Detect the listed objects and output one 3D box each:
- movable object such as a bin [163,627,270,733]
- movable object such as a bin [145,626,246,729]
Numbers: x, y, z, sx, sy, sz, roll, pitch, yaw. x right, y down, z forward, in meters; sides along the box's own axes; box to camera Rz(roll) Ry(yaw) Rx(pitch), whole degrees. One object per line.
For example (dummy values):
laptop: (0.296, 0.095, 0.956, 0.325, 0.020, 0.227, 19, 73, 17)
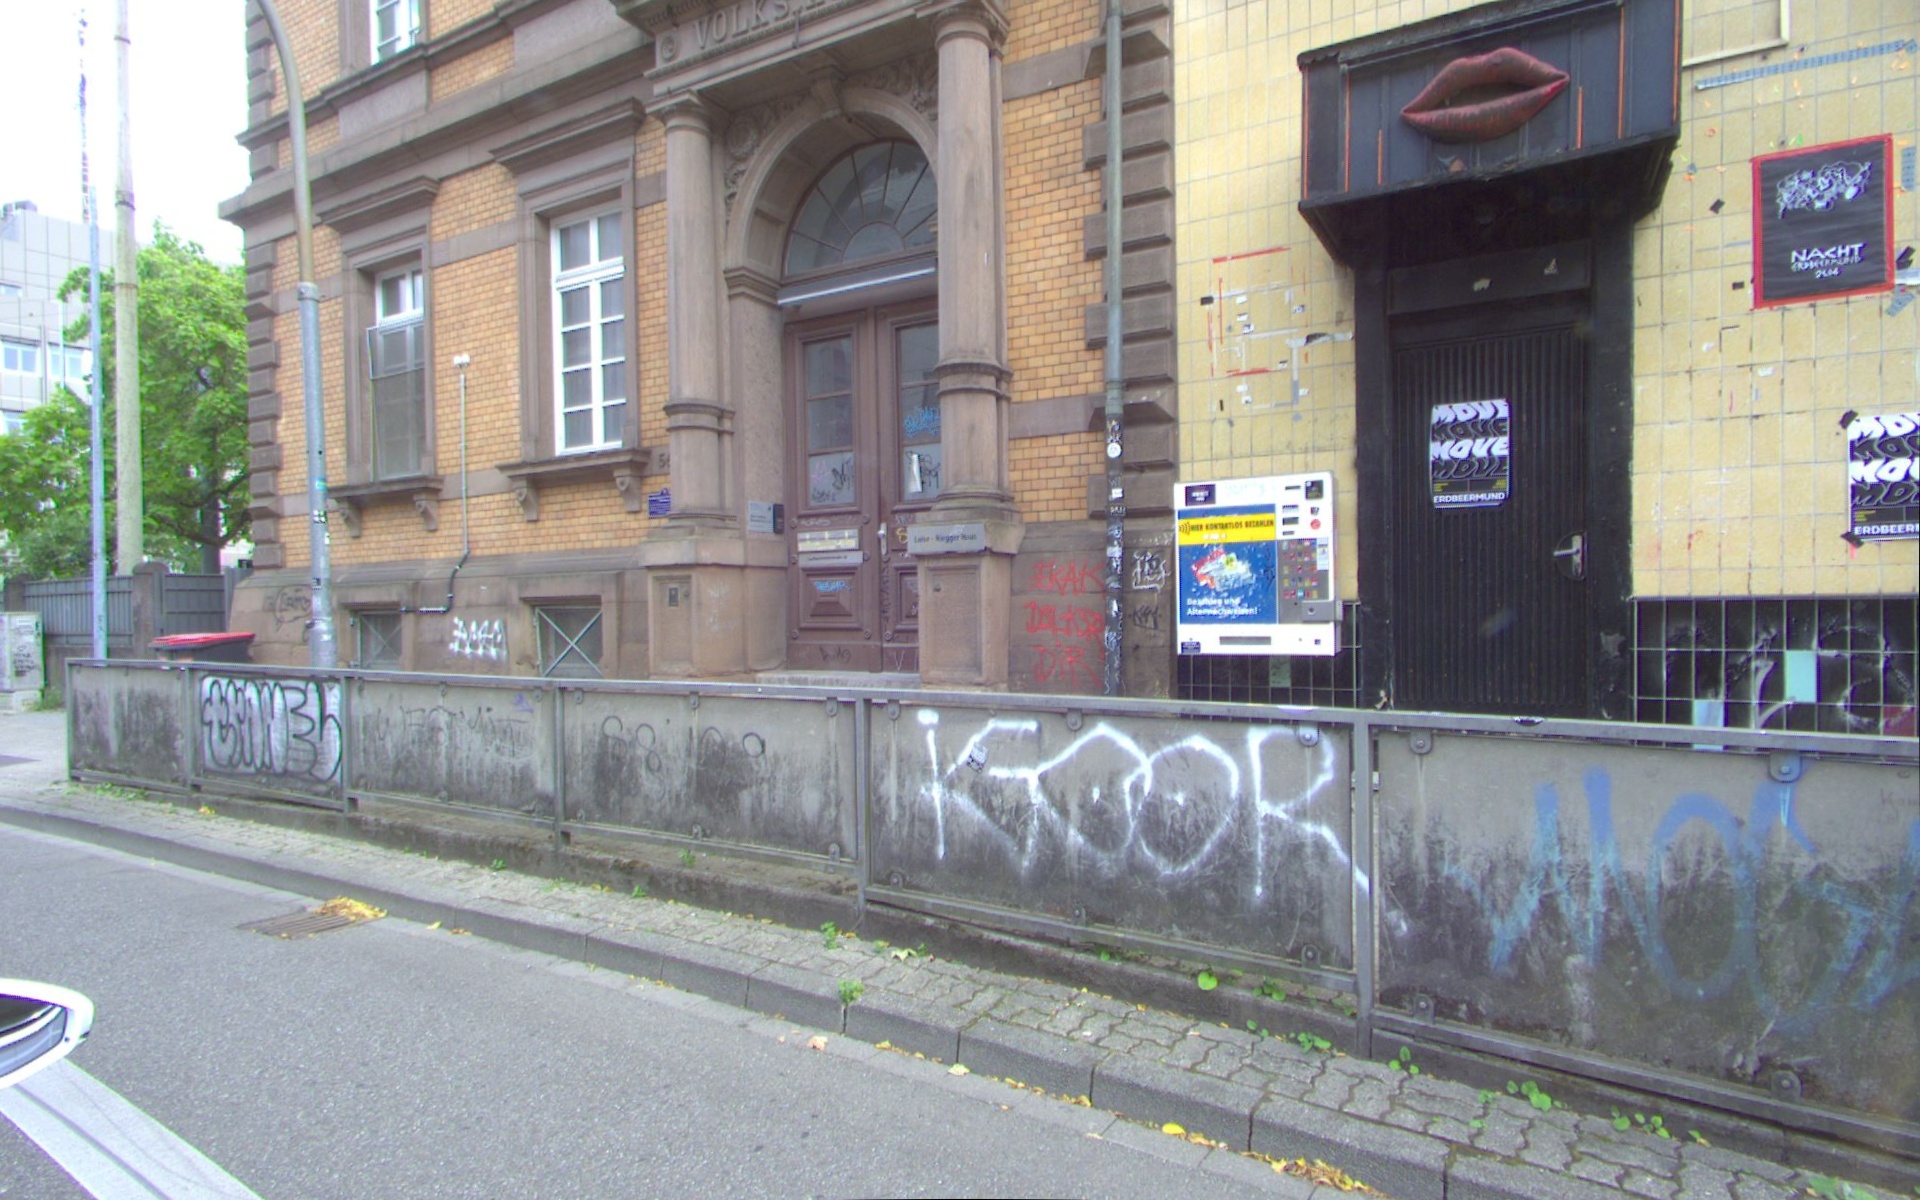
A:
movable object such as a bin: (-8.326, 0.876, 11.227, 0.690, 1.097, 0.662, -1, 4, 27)
movable object such as a bin: (-8.890, 0.884, 11.656, 0.667, 1.097, 0.650, -1, 4, 27)
